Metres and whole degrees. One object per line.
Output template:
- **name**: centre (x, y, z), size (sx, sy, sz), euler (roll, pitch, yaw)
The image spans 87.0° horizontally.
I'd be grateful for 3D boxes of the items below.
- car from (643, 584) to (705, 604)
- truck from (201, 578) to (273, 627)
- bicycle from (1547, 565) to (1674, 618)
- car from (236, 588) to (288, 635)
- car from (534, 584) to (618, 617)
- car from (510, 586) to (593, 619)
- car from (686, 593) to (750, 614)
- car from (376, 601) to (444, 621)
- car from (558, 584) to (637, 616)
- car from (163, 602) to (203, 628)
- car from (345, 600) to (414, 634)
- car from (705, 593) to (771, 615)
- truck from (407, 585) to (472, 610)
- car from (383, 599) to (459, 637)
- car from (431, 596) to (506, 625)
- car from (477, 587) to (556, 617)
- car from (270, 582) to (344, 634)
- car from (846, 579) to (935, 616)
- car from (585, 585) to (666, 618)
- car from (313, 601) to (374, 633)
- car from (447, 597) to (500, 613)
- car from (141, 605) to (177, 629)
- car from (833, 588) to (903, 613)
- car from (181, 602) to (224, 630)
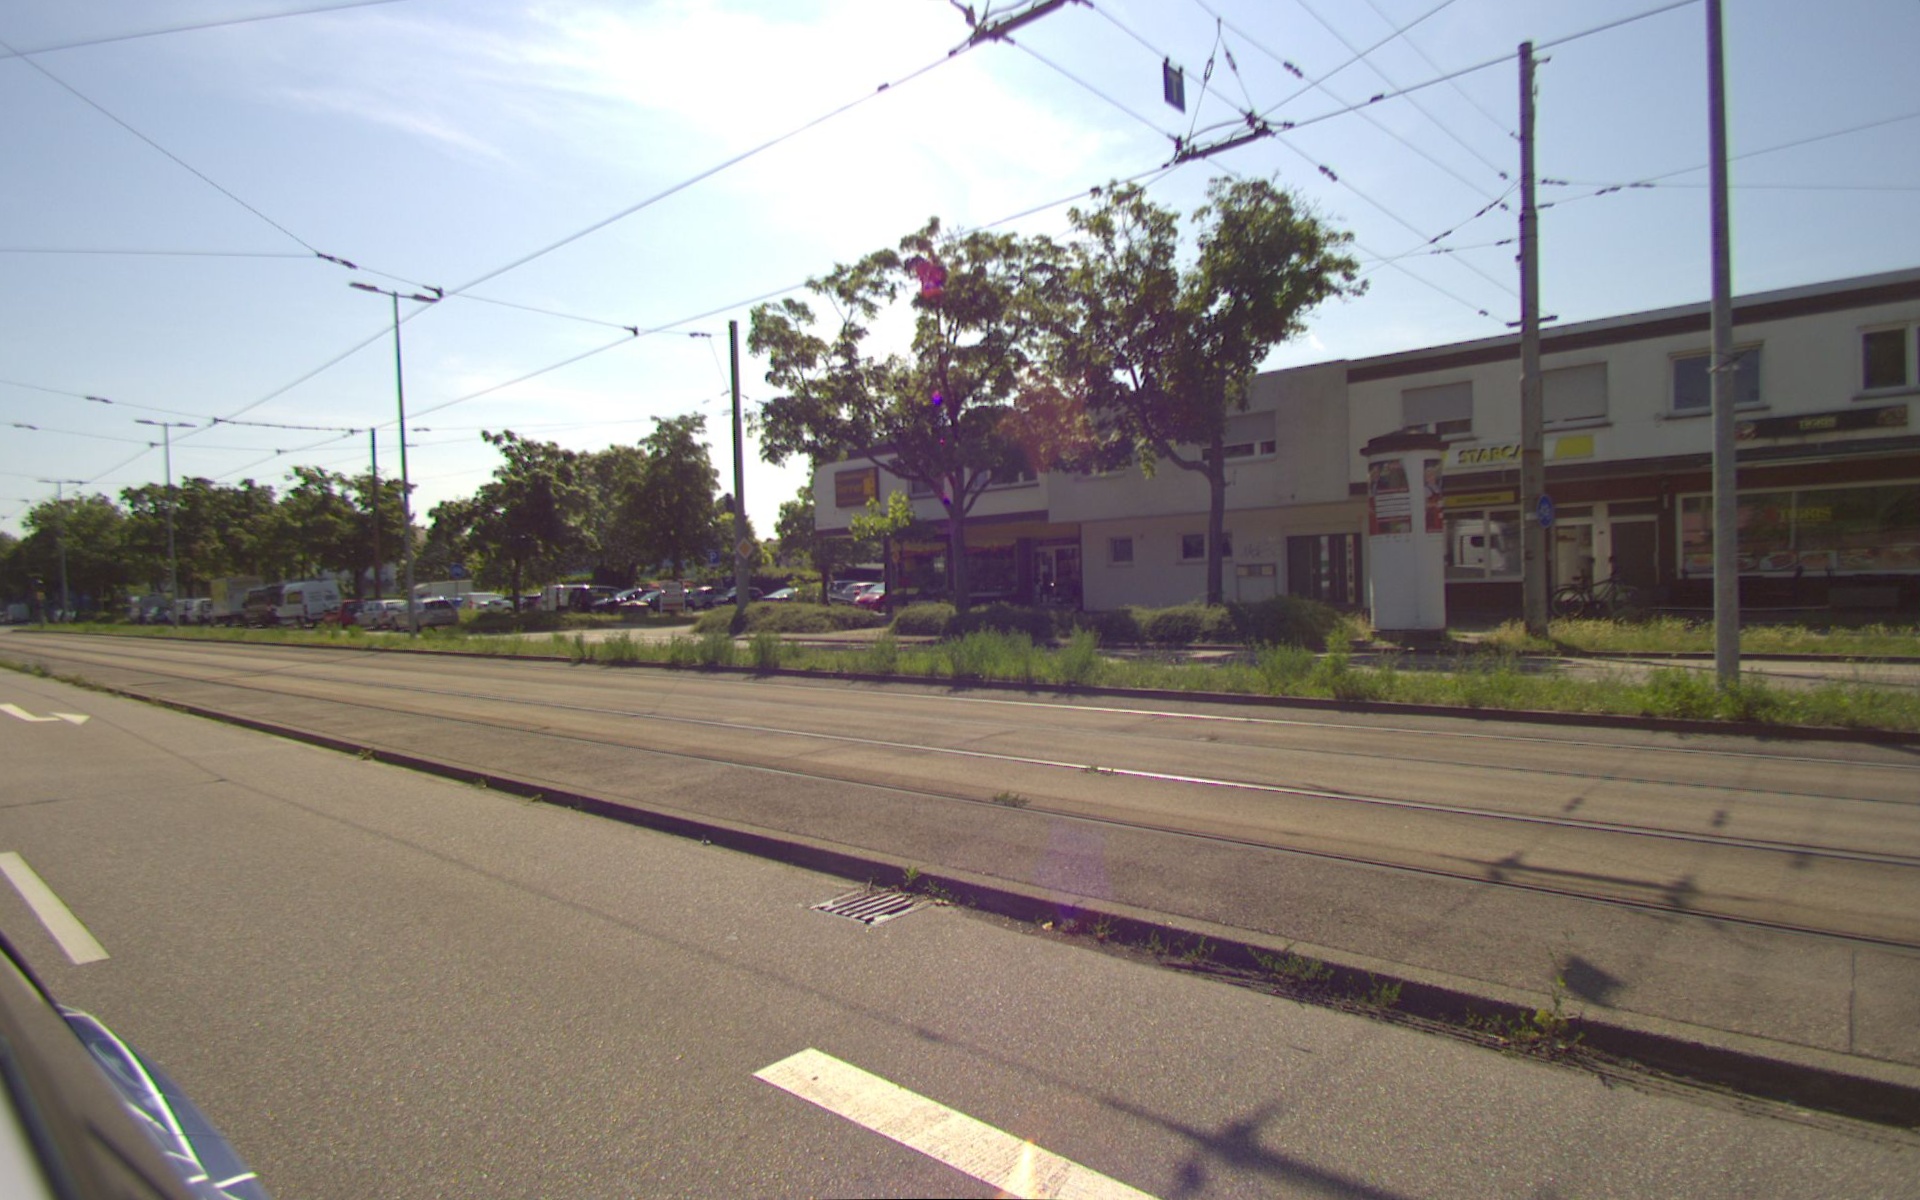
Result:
- **car**: centre (-21.092, -0.486, 74.713), size (1.674, 1.345, 4.201), euler (-1, 1, 39)
- **truck**: centre (-48.251, 0.207, 67.484), size (5.902, 2.956, 2.476), euler (-1, 4, 42)
- **bicycle**: centre (14.688, -0.168, 22.903), size (2.333, 1.161, 0.779), euler (-1, -1, 42)
- **car**: centre (-42.412, 0.696, 61.485), size (4.005, 2.643, 1.483), euler (-1, 4, 41)
- **car**: centre (-22.062, -0.007, 58.196), size (1.988, 1.751, 4.068), euler (-1, 1, 38)
- **car**: centre (-24.037, 0.128, 59.677), size (1.988, 1.751, 4.068), euler (-1, 1, 38)
- **car**: centre (-17.058, 0.241, 71.493), size (1.676, 1.345, 4.197), euler (-1, 1, 42)
- **car**: centre (-42.066, 0.807, 77.444), size (1.676, 1.345, 4.198), euler (-1, 1, 41)
- **car**: centre (-20.206, -0.008, 56.450), size (1.676, 1.646, 3.761), euler (-1, 1, 42)
- **car**: centre (-59.749, 1.187, 77.831), size (4.056, 1.859, 1.484), euler (-1, 4, 40)
- **car**: centre (-29.306, 0.861, 51.038), size (4.255, 1.544, 1.654), euler (-1, 4, 41)
- **car**: centre (-15.281, 0.295, 69.771), size (1.676, 1.345, 4.197), euler (-1, 1, 42)
- **truck**: centre (-52.968, -0.284, 103.052), size (1.988, 2.398, 5.584), euler (-1, 1, 38)
- **car**: centre (-25.243, 0.833, 47.346), size (4.255, 1.544, 1.654), euler (-1, 4, 41)
- **car**: centre (-33.298, 0.703, 68.429), size (5.739, 1.825, 2.560), euler (-1, 1, 42)
- **car**: centre (-28.024, 0.093, 64.009), size (1.988, 1.751, 4.068), euler (-1, 1, 38)
- **car**: centre (-37.251, 0.468, 57.661), size (5.201, 2.673, 2.036), euler (-1, 4, 41)
- **car**: centre (-3.244, -0.120, 47.994), size (1.676, 1.616, 4.197), euler (-1, 1, 42)
- **car**: centre (-17.962, 0.080, 54.441), size (1.676, 1.646, 3.761), euler (-1, 1, 42)
- **car**: centre (-33.156, 0.904, 54.376), size (3.791, 1.544, 1.654), euler (-1, 4, 41)
- **car**: centre (-45.988, 0.421, 95.693), size (1.676, 1.345, 4.198), euler (-1, 1, 41)
- **car**: centre (-64.406, 1.378, 81.374), size (3.685, 1.799, 1.484), euler (-1, 4, 40)
- **car**: centre (-5.554, 0.027, 61.607), size (1.676, 1.345, 4.197), euler (-1, 1, 42)
- **car**: centre (-54.759, 1.150, 73.146), size (4.631, 1.817, 1.483), euler (-1, 4, 41)
